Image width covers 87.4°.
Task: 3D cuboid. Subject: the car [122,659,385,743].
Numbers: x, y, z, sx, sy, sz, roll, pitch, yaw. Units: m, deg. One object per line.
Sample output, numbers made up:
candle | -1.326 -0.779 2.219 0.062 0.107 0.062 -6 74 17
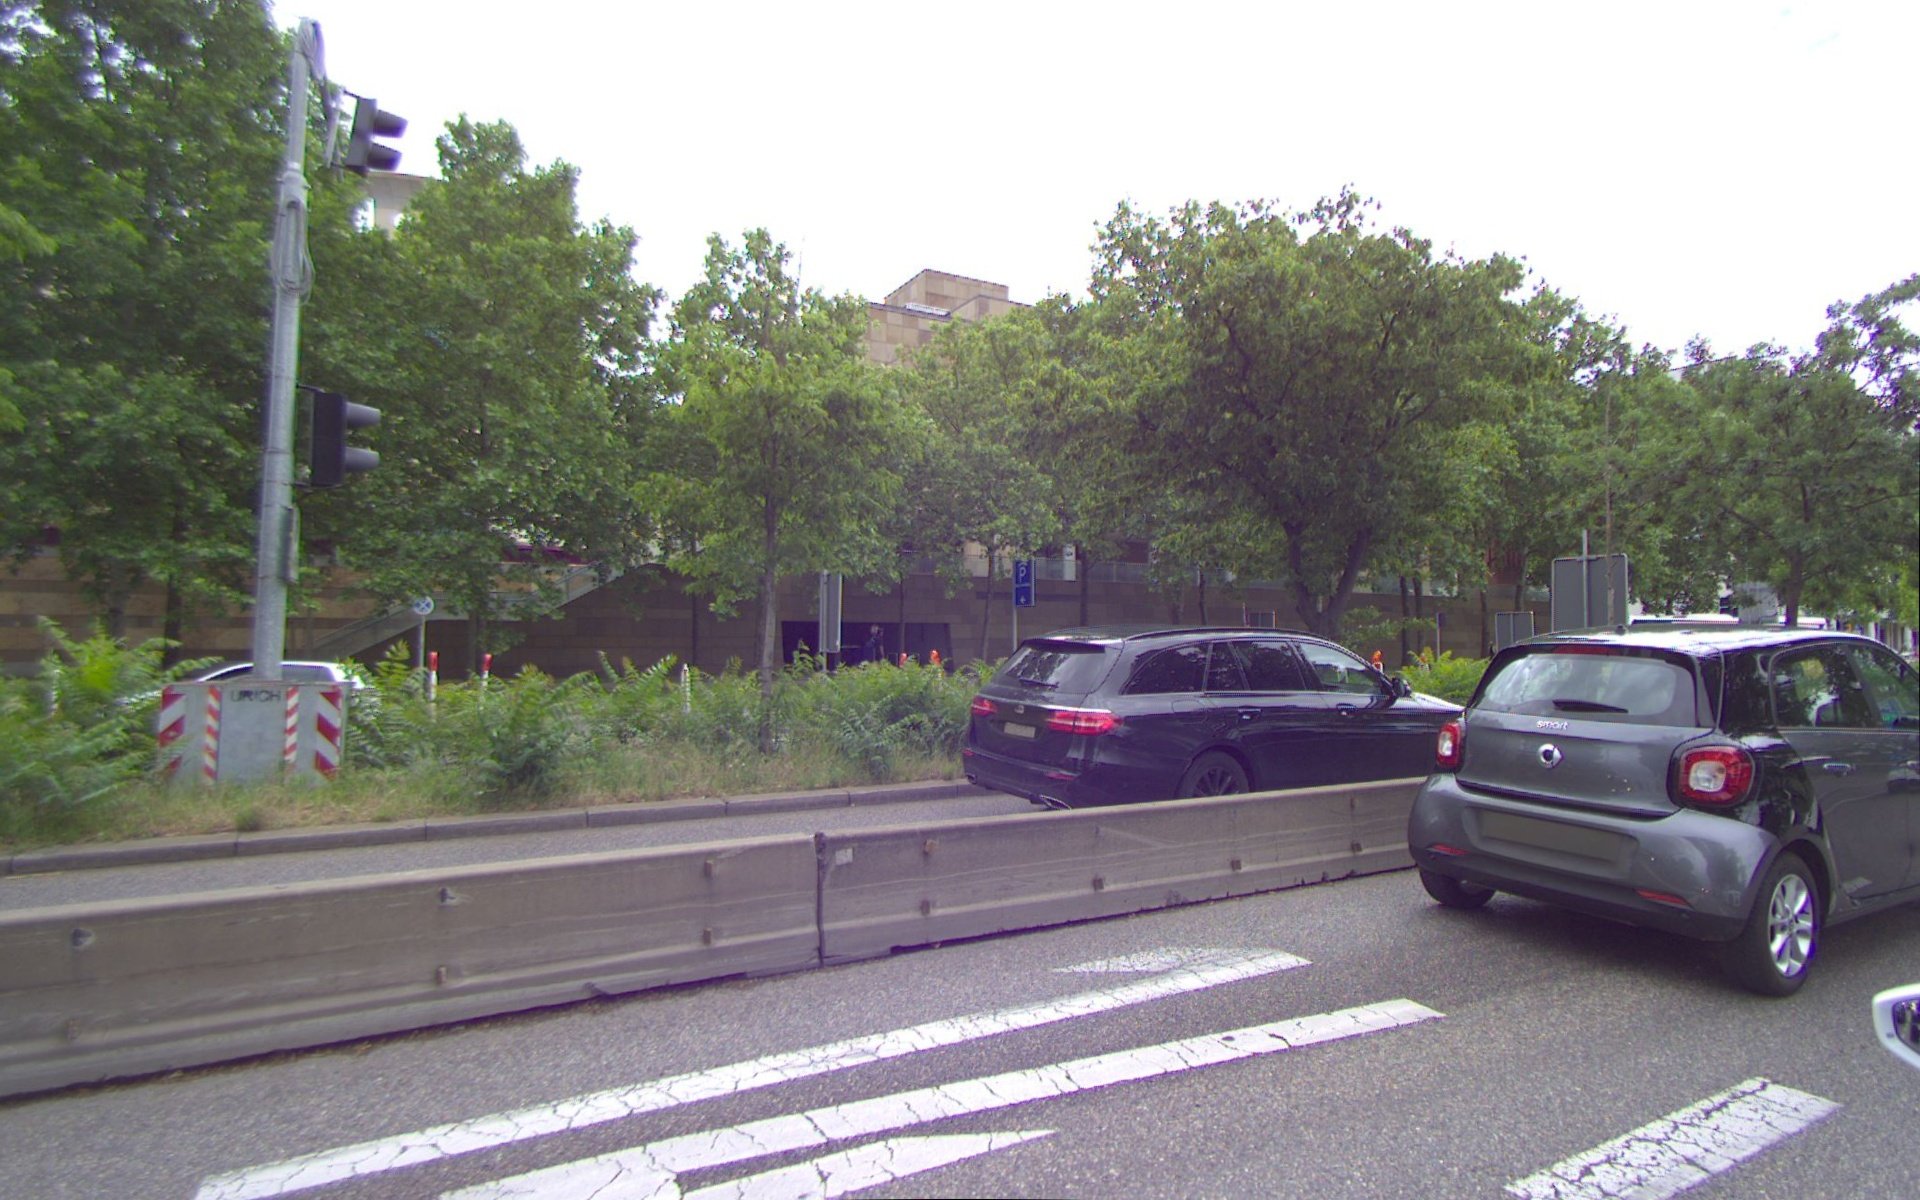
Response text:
car | -12.437 1.757 17.970 3.693 1.305 1.346 2 0 -30

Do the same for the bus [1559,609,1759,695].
bus | 29.872 2.204 42.751 10.326 3.348 2.899 2 -2 -30

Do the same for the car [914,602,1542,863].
car | 2.212 0.889 7.936 4.802 1.479 1.805 2 2 -28

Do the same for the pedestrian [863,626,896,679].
pedestrian | -2.911 1.914 36.152 0.976 1.878 0.718 2 -4 -29

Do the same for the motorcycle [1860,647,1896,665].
motorcycle | 66.712 4.041 73.004 1.859 1.249 0.657 -1 -5 37

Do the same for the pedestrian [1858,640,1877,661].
pedestrian | 68.417 3.804 75.714 0.865 1.577 0.598 0 -2 19

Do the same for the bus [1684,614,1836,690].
bus | 37.643 2.434 47.219 7.613 3.347 2.910 2 -2 -29

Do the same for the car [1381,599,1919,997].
car | 4.147 0.833 5.439 3.497 1.529 1.620 2 -1 -29
